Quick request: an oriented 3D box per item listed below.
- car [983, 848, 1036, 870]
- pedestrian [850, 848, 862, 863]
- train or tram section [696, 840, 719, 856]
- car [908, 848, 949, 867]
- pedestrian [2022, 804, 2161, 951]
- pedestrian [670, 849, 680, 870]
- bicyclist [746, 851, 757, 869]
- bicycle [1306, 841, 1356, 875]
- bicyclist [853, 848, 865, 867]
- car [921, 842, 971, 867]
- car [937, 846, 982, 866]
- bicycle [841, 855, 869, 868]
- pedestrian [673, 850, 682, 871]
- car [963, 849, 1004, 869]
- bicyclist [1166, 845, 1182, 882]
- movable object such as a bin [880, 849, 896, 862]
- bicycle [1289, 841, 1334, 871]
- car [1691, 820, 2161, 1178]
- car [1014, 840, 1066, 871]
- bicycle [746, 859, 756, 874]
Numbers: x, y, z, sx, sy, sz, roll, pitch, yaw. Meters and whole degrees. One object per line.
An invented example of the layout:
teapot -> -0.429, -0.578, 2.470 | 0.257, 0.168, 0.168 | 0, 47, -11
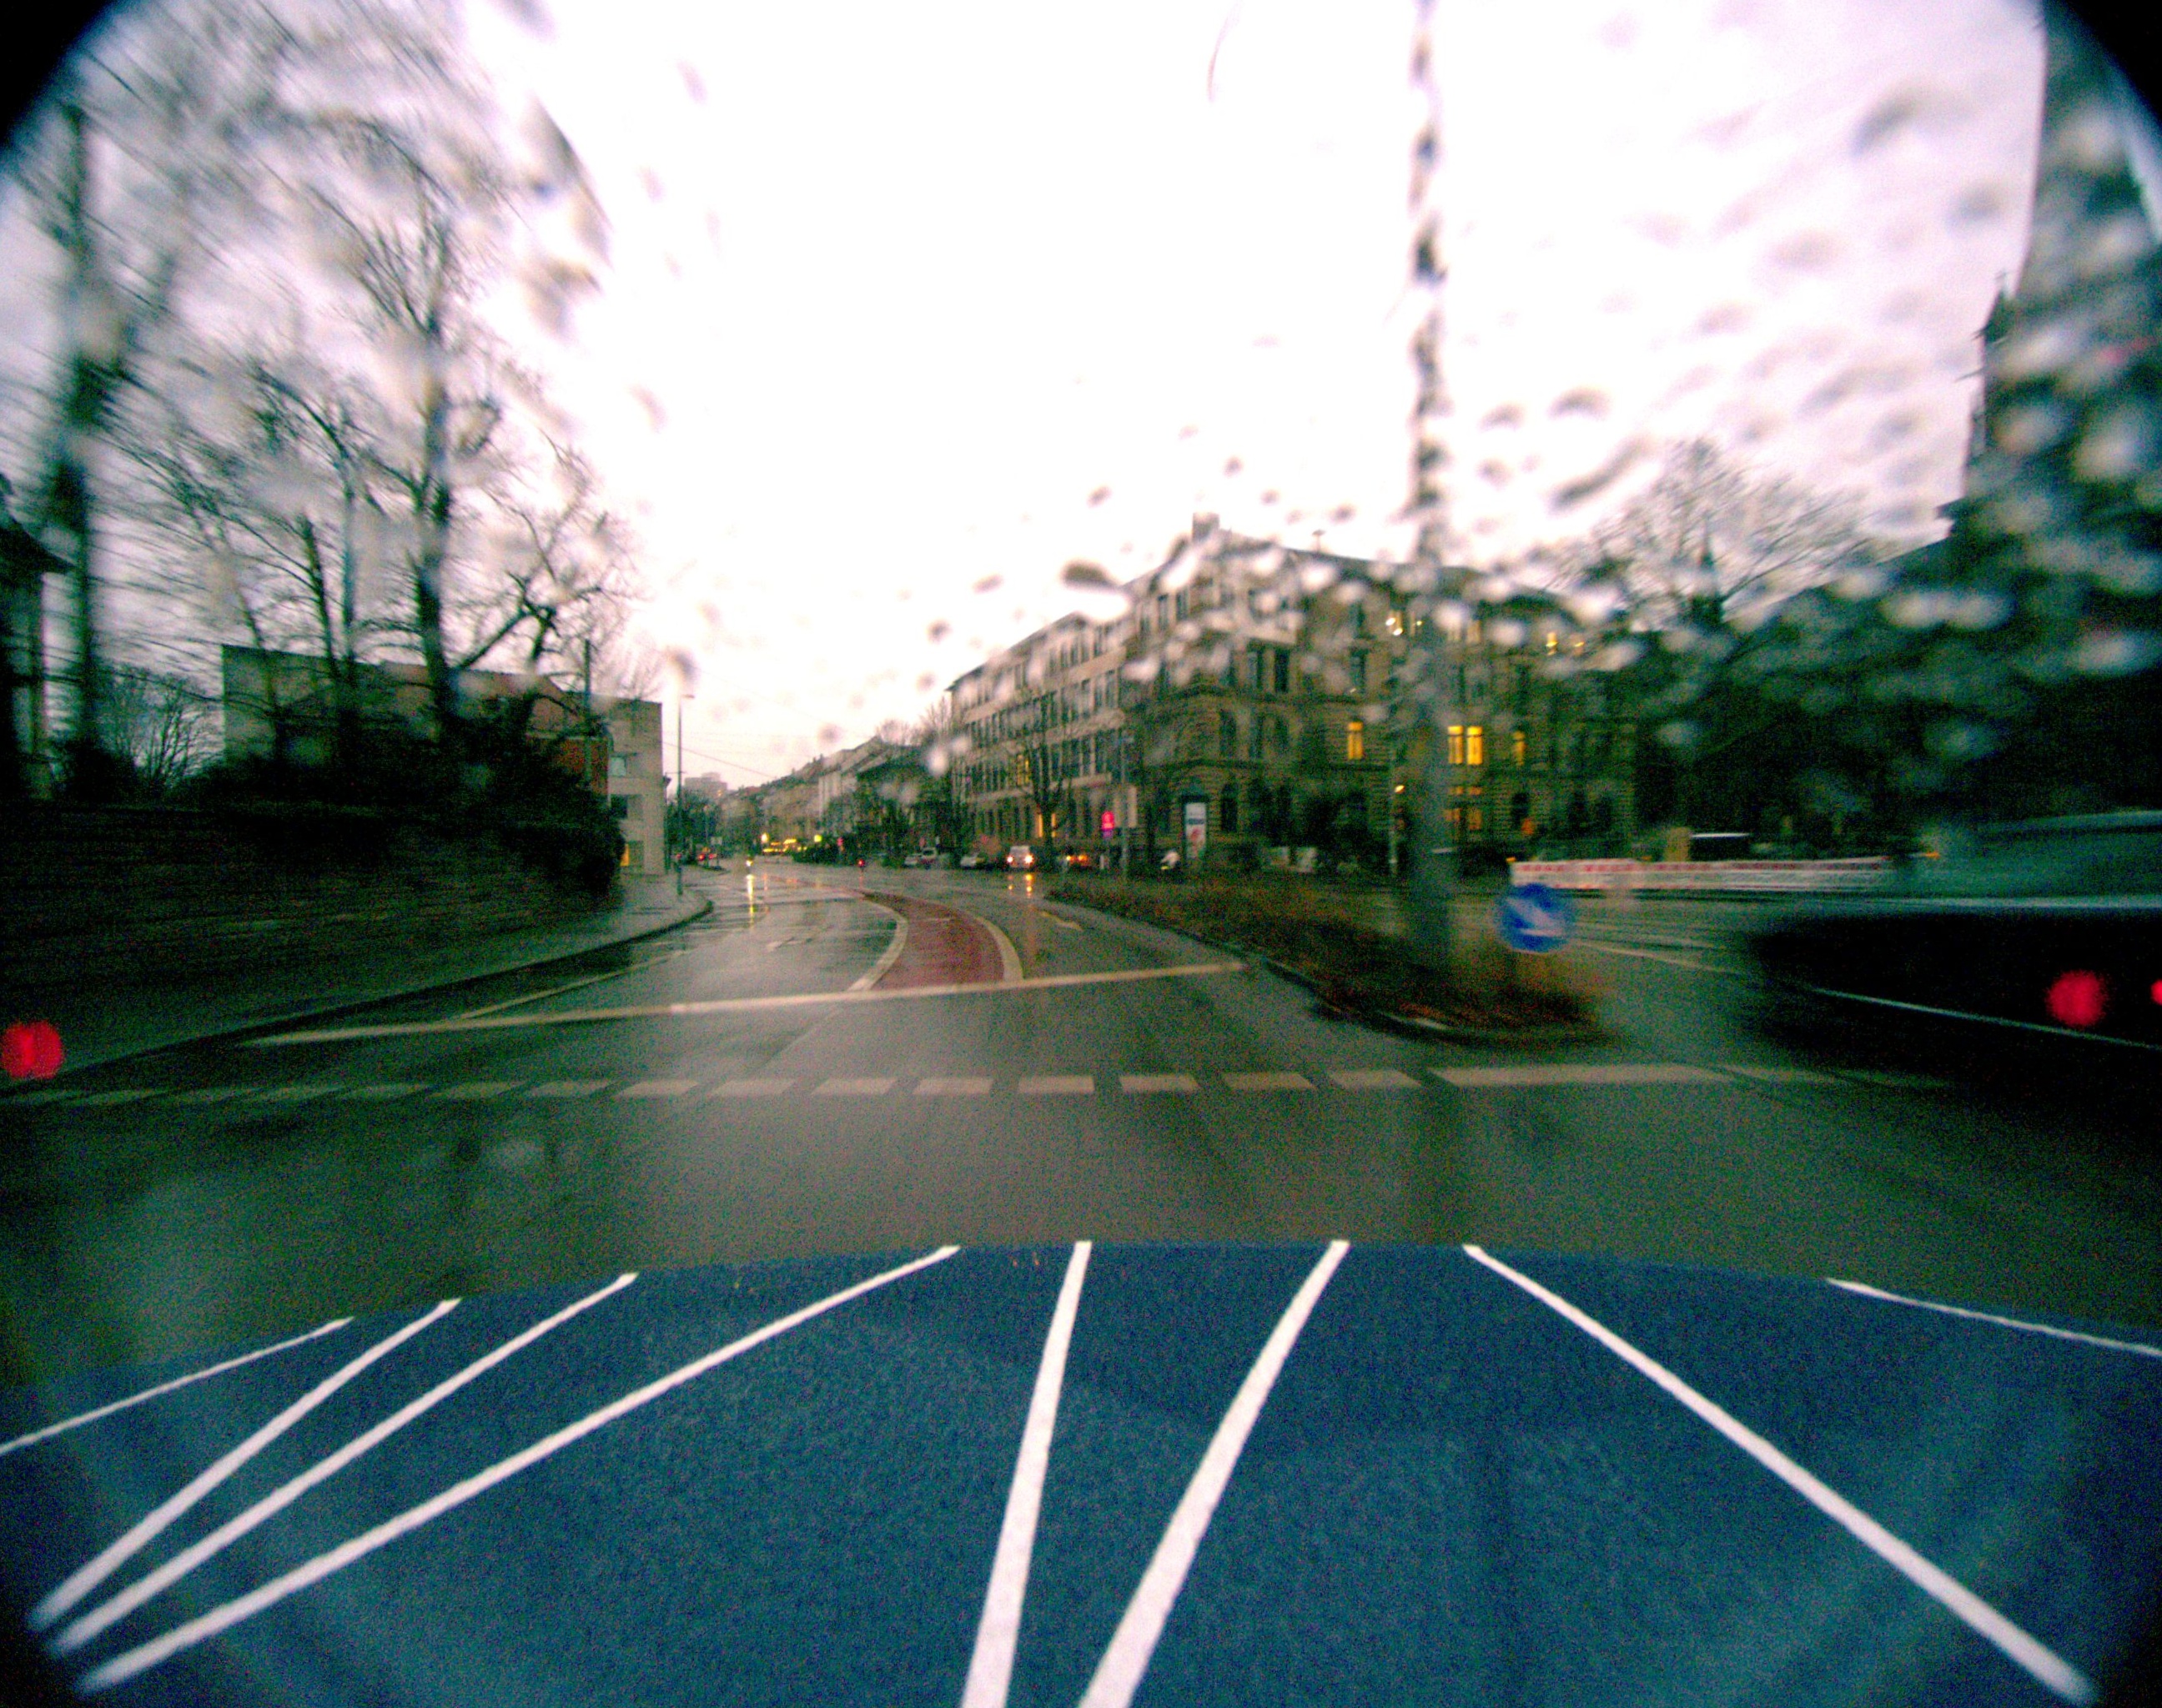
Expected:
car -> -5.713, 0.399, 61.177 | 1.795, 1.450, 4.484 | -1, 3, 33
pedestrian -> -27.247, 0.212, 92.001 | 0.945, 1.694, 0.925 | -1, 3, 37
train or tram section -> -96.233, -1.634, 195.410 | 2.891, 3.716, 27.263 | -4, 3, -31
car -> -15.529, 0.353, 77.535 | 1.770, 1.582, 4.191 | -1, 3, 30
pedestrian -> 17.202, 0.368, 12.947 | 0.996, 2.357, 1.064 | -3, 3, 0
pedestrian -> -36.199, 0.522, 67.762 | 0.775, 1.848, 0.716 | 0, 1, -29
bicyclist -> -26.135, 0.453, 60.265 | 0.718, 1.335, 0.718 | -4, 3, -24
bicycle -> 13.112, 0.212, 39.884 | 2.424, 1.680, 0.714 | -2, 3, 20
bicyclist -> -19.696, 0.303, 67.386 | 0.858, 1.586, 0.779 | -1, 2, -26
car -> -12.883, 0.035, 72.603 | 1.961, 2.042, 4.629 | -1, 3, 32
car -> -11.122, 0.164, 69.870 | 1.819, 1.531, 3.983 | -1, 3, 32
bicycle -> -20.022, 0.652, 67.318 | 2.125, 0.939, 0.942 | -4, 3, -27
pedestrian -> -36.024, 0.590, 67.861 | 0.659, 1.849, 0.658 | 0, 1, -29
car -> -8.373, 0.403, 65.766 | 1.633, 1.450, 3.832 | -1, 3, 26
bicyclist -> 4.476, 0.449, 36.584 | 0.611, 1.758, 0.589 | -2, 3, 13
movable object such as a bin -> -22.152, 0.184, 87.288 | 1.341, 1.456, 0.987 | -2, 3, 22
bicycle -> 13.497, 0.119, 44.508 | 2.424, 1.680, 0.714 | -2, 3, 20
car -> 5.912, 0.668, 4.116 | 1.758, 1.652, 4.531 | 0, 0, 3
car -> -2.963, 0.071, 56.223 | 1.908, 2.022, 4.809 | -2, 3, 22
bicycle -> -26.133, 0.983, 60.187 | 0.725, 1.084, 2.281 | -3, 0, -23
